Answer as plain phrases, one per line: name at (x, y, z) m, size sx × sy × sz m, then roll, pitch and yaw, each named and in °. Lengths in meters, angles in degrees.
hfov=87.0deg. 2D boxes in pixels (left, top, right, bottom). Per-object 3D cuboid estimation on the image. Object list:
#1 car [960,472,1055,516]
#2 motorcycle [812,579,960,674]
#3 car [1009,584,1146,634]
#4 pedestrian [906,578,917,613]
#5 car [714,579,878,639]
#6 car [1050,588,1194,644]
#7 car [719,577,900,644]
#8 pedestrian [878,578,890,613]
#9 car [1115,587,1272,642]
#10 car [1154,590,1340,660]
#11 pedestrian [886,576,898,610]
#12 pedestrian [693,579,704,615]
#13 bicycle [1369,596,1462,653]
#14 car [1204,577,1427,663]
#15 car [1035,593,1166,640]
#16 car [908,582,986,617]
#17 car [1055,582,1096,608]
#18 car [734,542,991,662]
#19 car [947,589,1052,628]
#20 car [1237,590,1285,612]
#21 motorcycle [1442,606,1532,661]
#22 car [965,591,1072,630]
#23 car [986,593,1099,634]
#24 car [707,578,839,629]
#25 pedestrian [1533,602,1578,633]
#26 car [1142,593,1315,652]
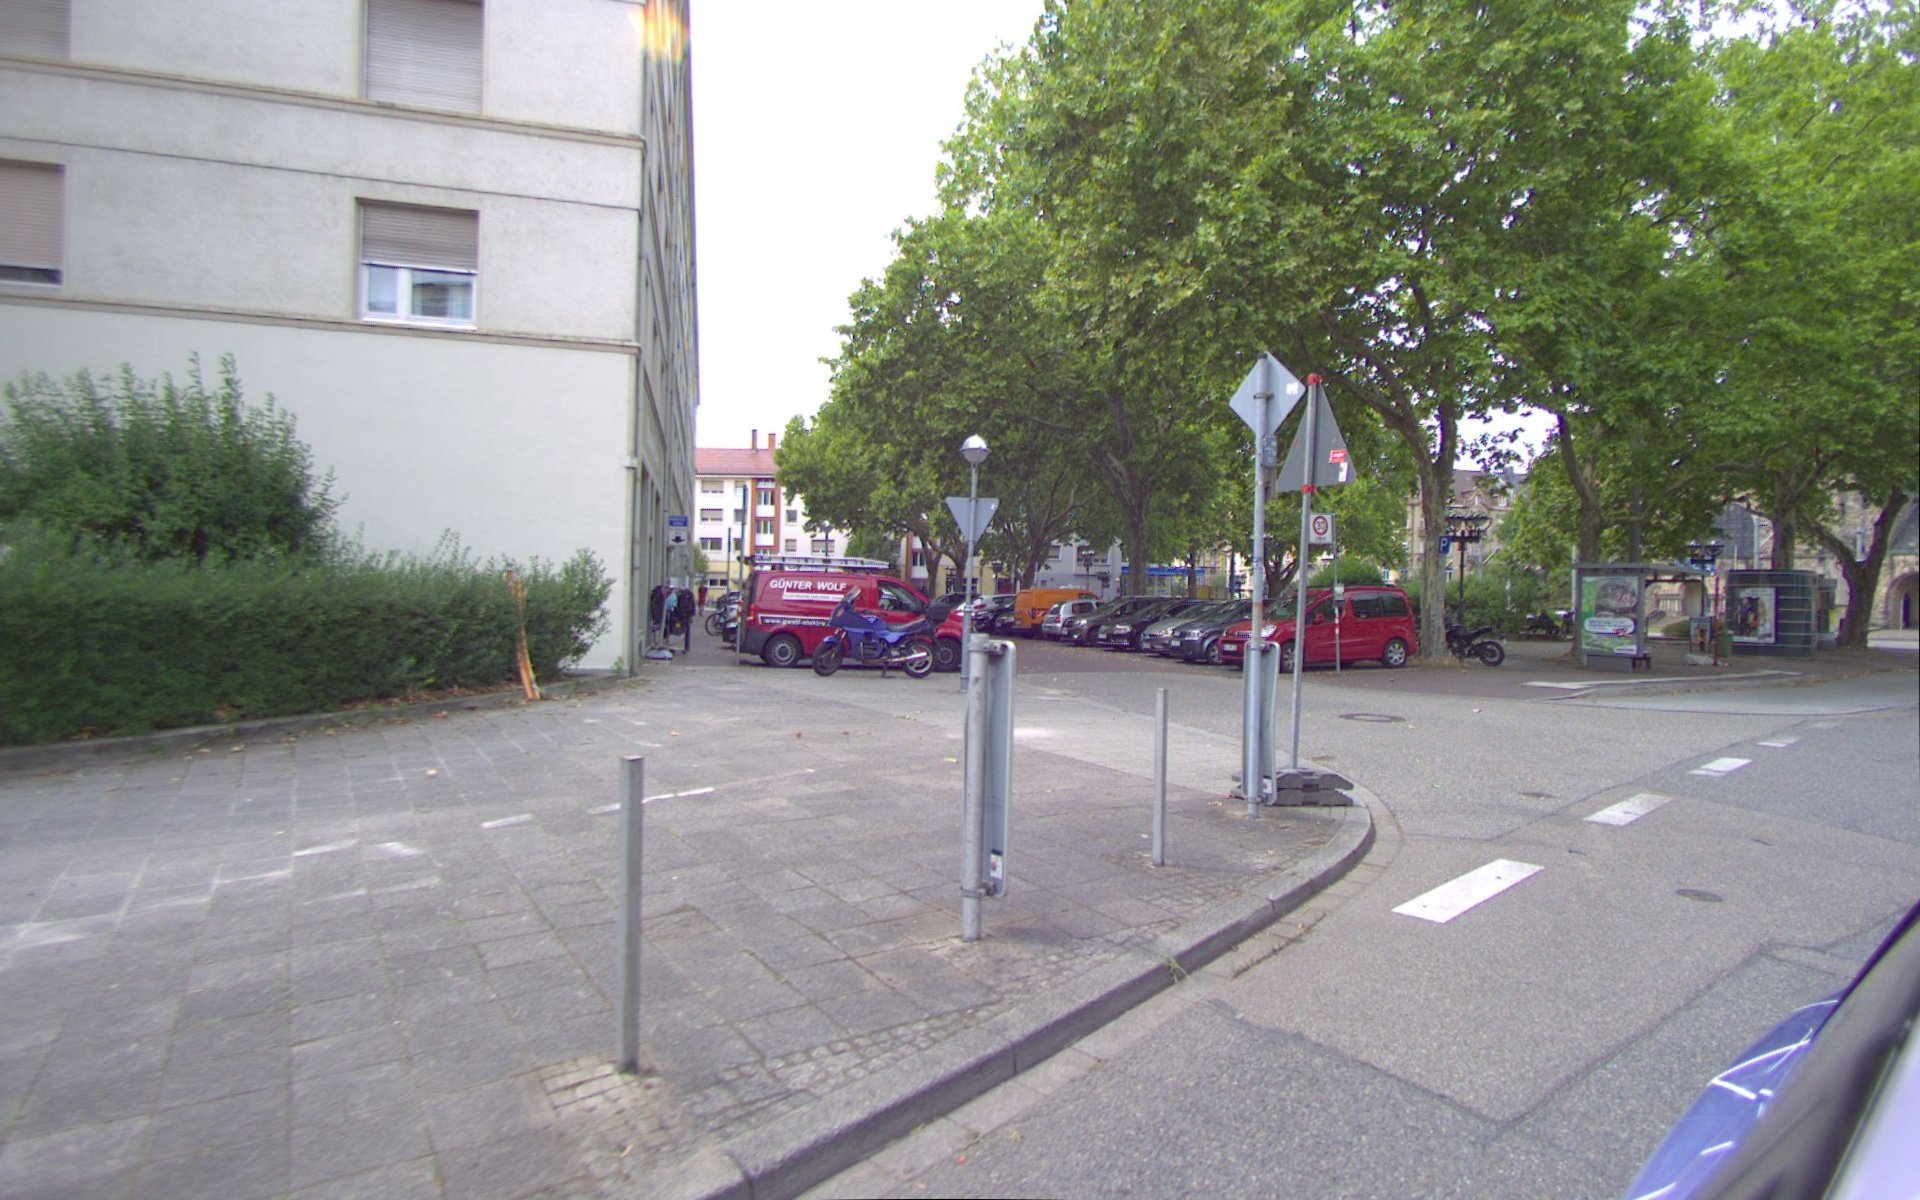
car at (2.170, -4.864, 46.762) m, size 3.915 × 1.660 × 2.004 m, roll 1°, pitch 0°, yaw -17°
motorcycle at (-1.213, 0.446, 16.792) m, size 2.258 × 1.480 × 0.836 m, roll 2°, pitch 0°, yaw -27°
car at (4.252, 0.314, 36.751) m, size 4.463 × 1.716 × 2.004 m, roll 1°, pitch 1°, yaw -18°
pedestrian at (-2.594, -0.228, 54.194) m, size 0.426 × 1.836 × 0.449 m, roll 2°, pitch 0°, yaw -18°
car at (-4.421, 0.237, 27.091) m, size 4.106 × 1.506 × 2.004 m, roll 1°, pitch 0°, yaw -16°
car at (5.023, 0.493, 31.576) m, size 3.915 × 1.619 × 2.004 m, roll 1°, pitch 1°, yaw -18°
car at (-3.705, 0.247, 24.601) m, size 4.106 × 1.523 × 2.004 m, roll 1°, pitch 0°, yaw -16°
pedestrian at (-4.044, -0.244, 53.797) m, size 0.427 × 1.836 × 0.448 m, roll 2°, pitch -1°, yaw -28°
car at (6.733, 0.404, 29.316) m, size 3.915 × 1.482 × 2.004 m, roll 1°, pitch 1°, yaw -18°
car at (6.861, 0.582, 24.317) m, size 3.915 × 1.571 × 1.837 m, roll 1°, pitch 1°, yaw -18°
pedestrian at (-3.699, -0.407, 55.092) m, size 0.439 × 1.836 × 0.436 m, roll 2°, pitch -1°, yaw -29°
pedestrian at (-14.848, -0.171, 57.442) m, size 0.570 × 2.039 × 0.633 m, roll 2°, pitch 0°, yaw -14°
bicycle at (11.956, 0.645, 26.590) m, size 2.264 × 1.395 × 0.421 m, roll 3°, pitch 0°, yaw -6°
car at (7.701, 0.415, 21.985) m, size 4.239 × 1.727 × 1.943 m, roll 1°, pitch 1°, yaw -19°
car at (4.751, 0.542, 34.404) m, size 3.915 × 1.482 × 2.004 m, roll 1°, pitch 1°, yaw -18°
car at (-0.727, -0.020, 55.957) m, size 3.915 × 1.838 × 1.922 m, roll 1°, pitch 1°, yaw -19°
car at (10.025, -0.432, 87.946) m, size 1.958 × 2.134 × 4.037 m, roll 1°, pitch 0°, yaw -18°
car at (-1.972, 0.043, 19.977) m, size 4.742 × 2.177 × 2.004 m, roll 1°, pitch 0°, yaw -16°
car at (1.717, 0.370, 44.408) m, size 4.116 × 1.638 × 2.004 m, roll 1°, pitch 1°, yaw -18°
car at (26.928, 0.059, 90.613) m, size 1.958 × 1.901 × 4.391 m, roll 2°, pitch 0°, yaw -17°
motorcycle at (12.656, 0.791, 24.348) m, size 0.521 × 1.238 × 1.857 m, roll 2°, pitch 0°, yaw -41°
car at (2.395, 0.423, 41.764) m, size 3.915 × 1.482 × 2.004 m, roll 1°, pitch 1°, yaw -18°
car at (3.198, 0.505, 39.430) m, size 3.915 × 1.482 × 2.004 m, roll 1°, pitch 1°, yaw -18°
car at (-6.300, 0.104, 33.958) m, size 4.106 × 1.611 × 2.004 m, roll 1°, pitch 0°, yaw -17°
pedestrian at (24.462, 0.710, 41.565) m, size 1.117 × 1.228 × 1.101 m, roll 1°, pitch 1°, yaw -13°
car at (7.150, 0.588, 27.020) m, size 4.096 × 1.482 × 1.755 m, roll 1°, pitch 1°, yaw -14°
